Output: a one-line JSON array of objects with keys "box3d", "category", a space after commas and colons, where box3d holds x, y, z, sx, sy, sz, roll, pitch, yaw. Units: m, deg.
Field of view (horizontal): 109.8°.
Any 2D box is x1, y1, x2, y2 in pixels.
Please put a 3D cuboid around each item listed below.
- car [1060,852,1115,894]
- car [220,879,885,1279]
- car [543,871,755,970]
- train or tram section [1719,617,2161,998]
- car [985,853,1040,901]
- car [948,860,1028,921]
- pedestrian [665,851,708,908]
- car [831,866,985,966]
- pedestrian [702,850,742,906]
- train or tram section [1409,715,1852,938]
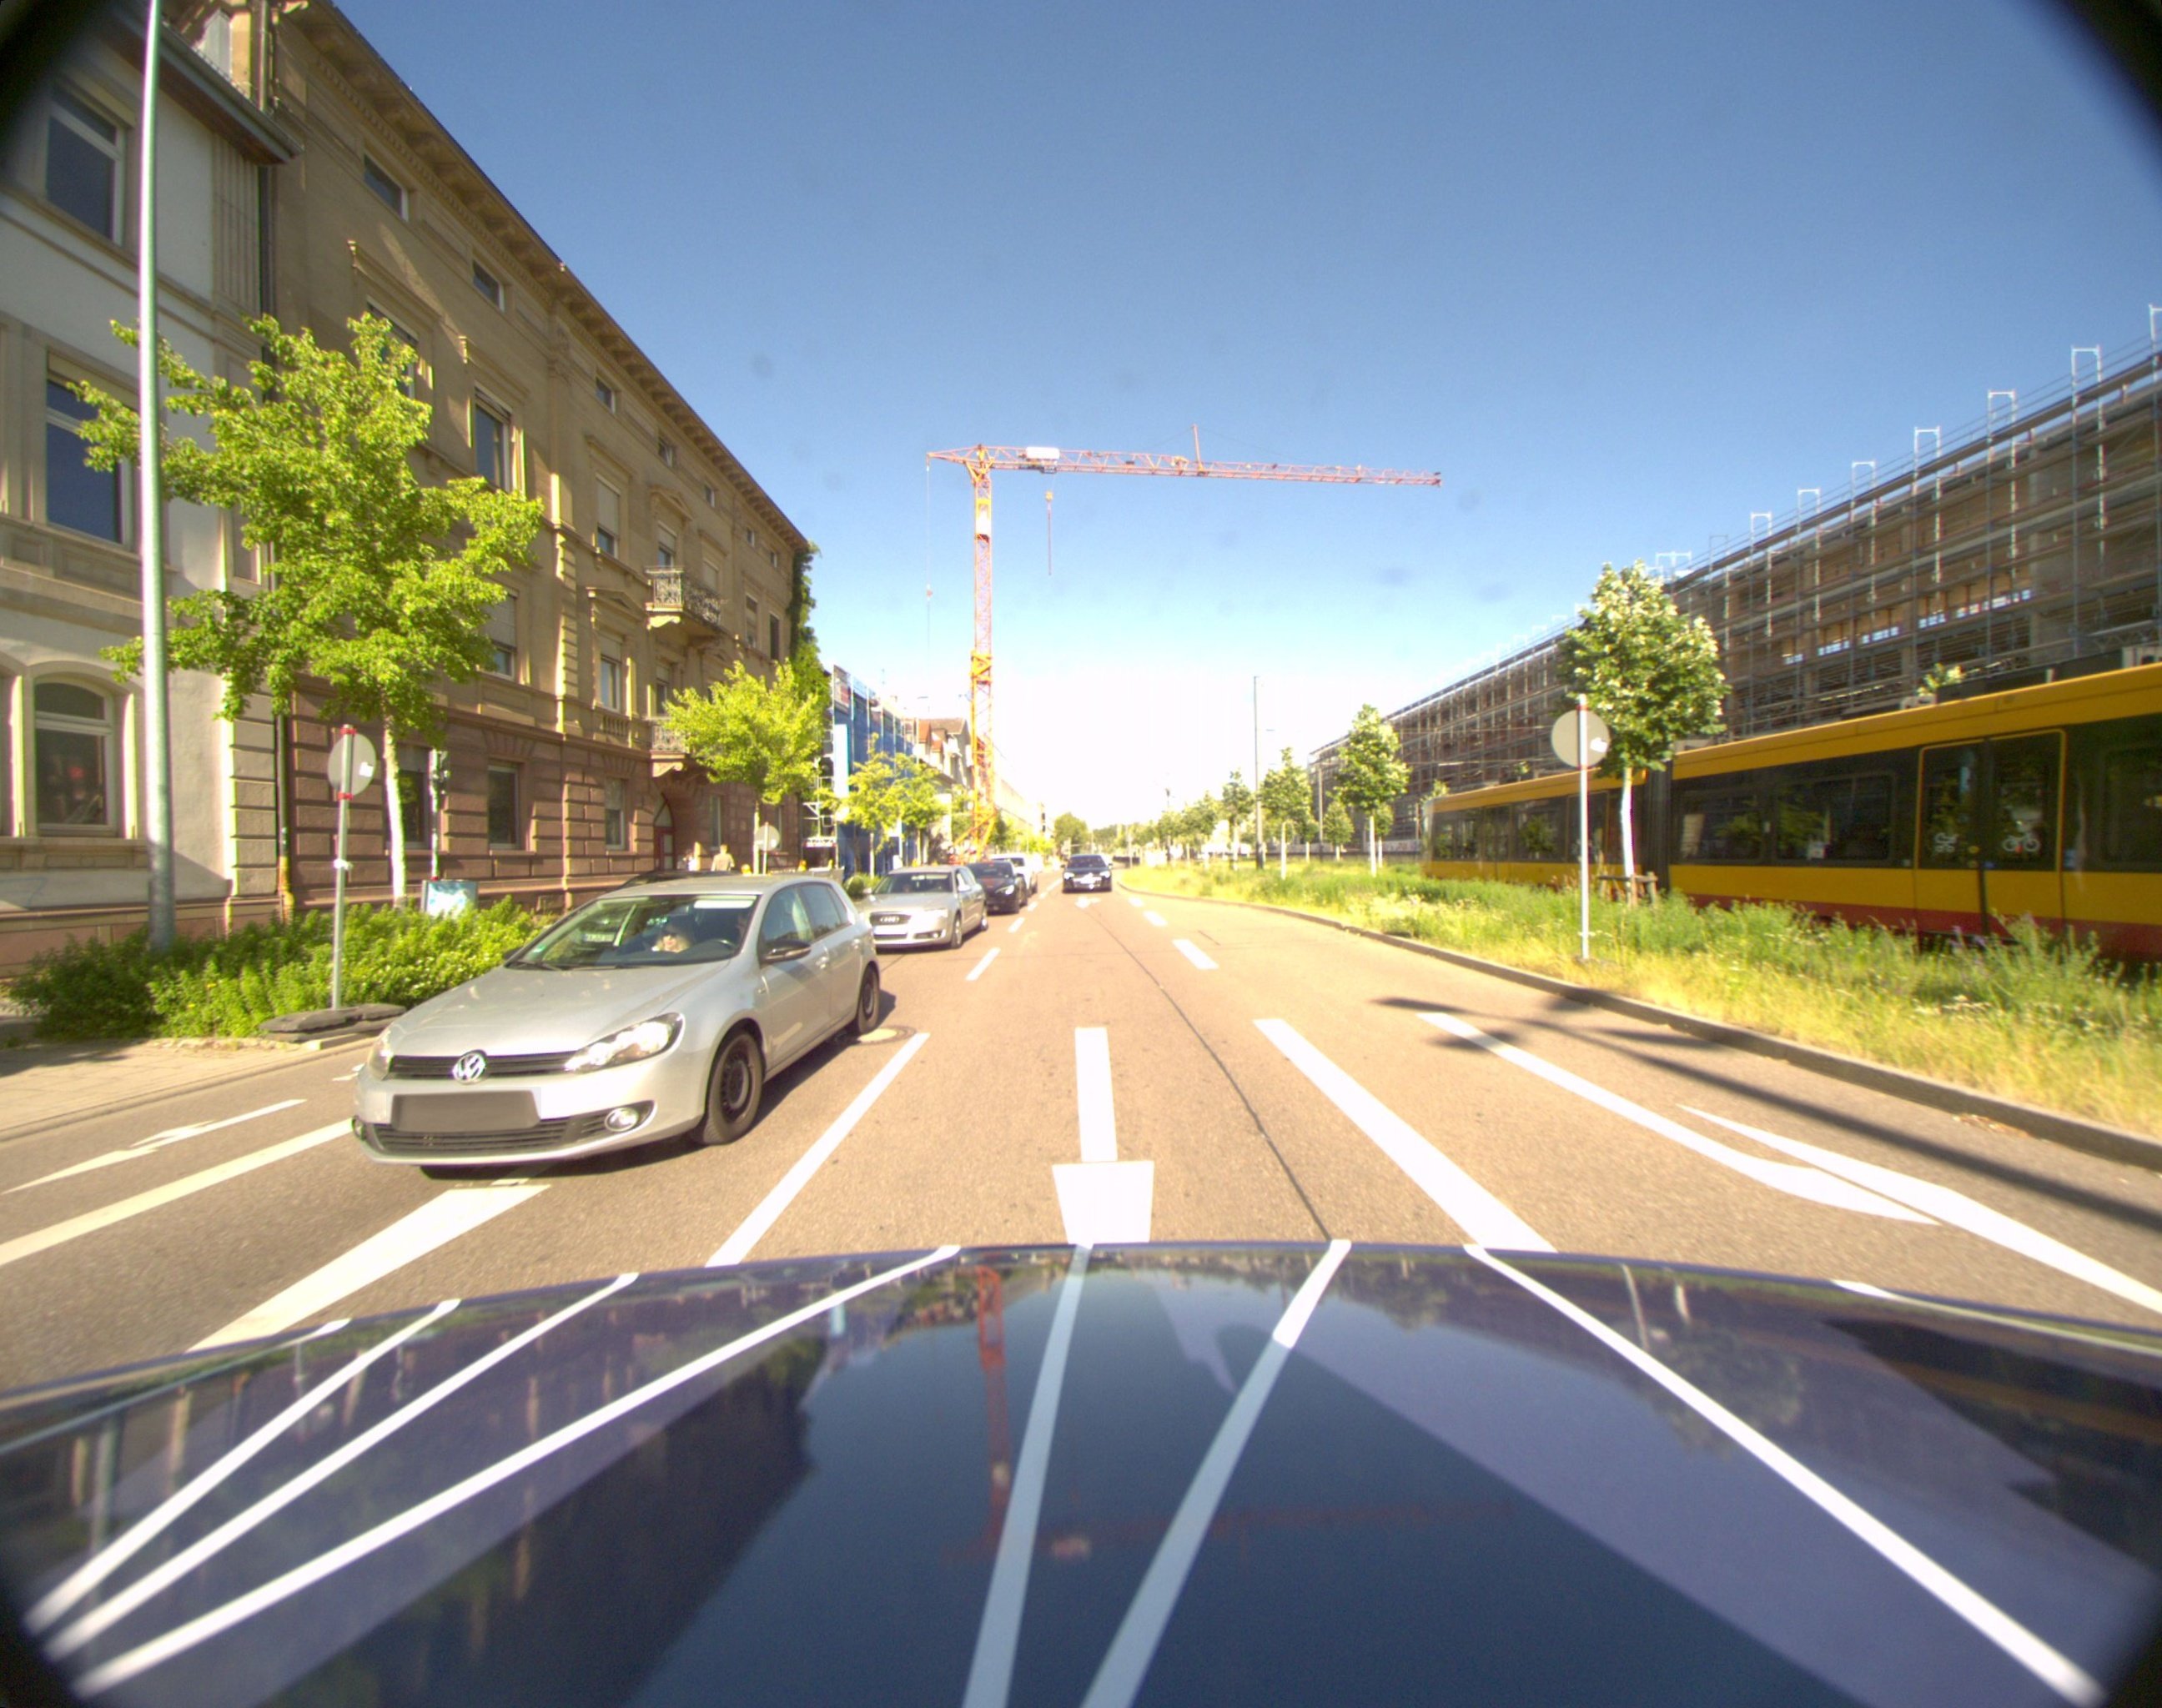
[{"box3d": [0.188, 0.708, 30.384, 1.999, 1.493, 3.999, -1, 1, -2], "category": "car"}, {"box3d": [-2.731, 1.014, 5.199, 1.703, 1.466, 3.999, -2, 1, 0], "category": "car"}, {"box3d": [-7.662, 1.098, 13.977, 1.610, 1.435, 3.999, 0, 1, 0], "category": "car"}, {"box3d": [11.360, -0.467, 7.101, 1.998, 3.648, 11.318, -2, 1, 4], "category": "train or tram section"}, {"box3d": [-2.573, 0.818, 29.155, 1.703, 1.622, 3.999, -2, 1, 0], "category": "car"}, {"box3d": [-2.488, 0.936, 21.199, 1.703, 1.415, 3.999, -2, 1, 0], "category": "car"}, {"box3d": [-11.131, 0.703, 21.469, 0.669, 1.552, 0.906, -2, 1, -2], "category": "pedestrian"}, {"box3d": [-2.955, 0.997, 13.872, 1.839, 1.415, 3.999, -2, 1, 0], "category": "car"}, {"box3d": [-10.213, 0.669, 21.627, 0.669, 1.552, 0.906, -2, 1, -2], "category": "pedestrian"}, {"box3d": [12.214, -0.515, 19.752, 1.998, 3.648, 14.154, -2, 1, 3], "category": "train or tram section"}]
